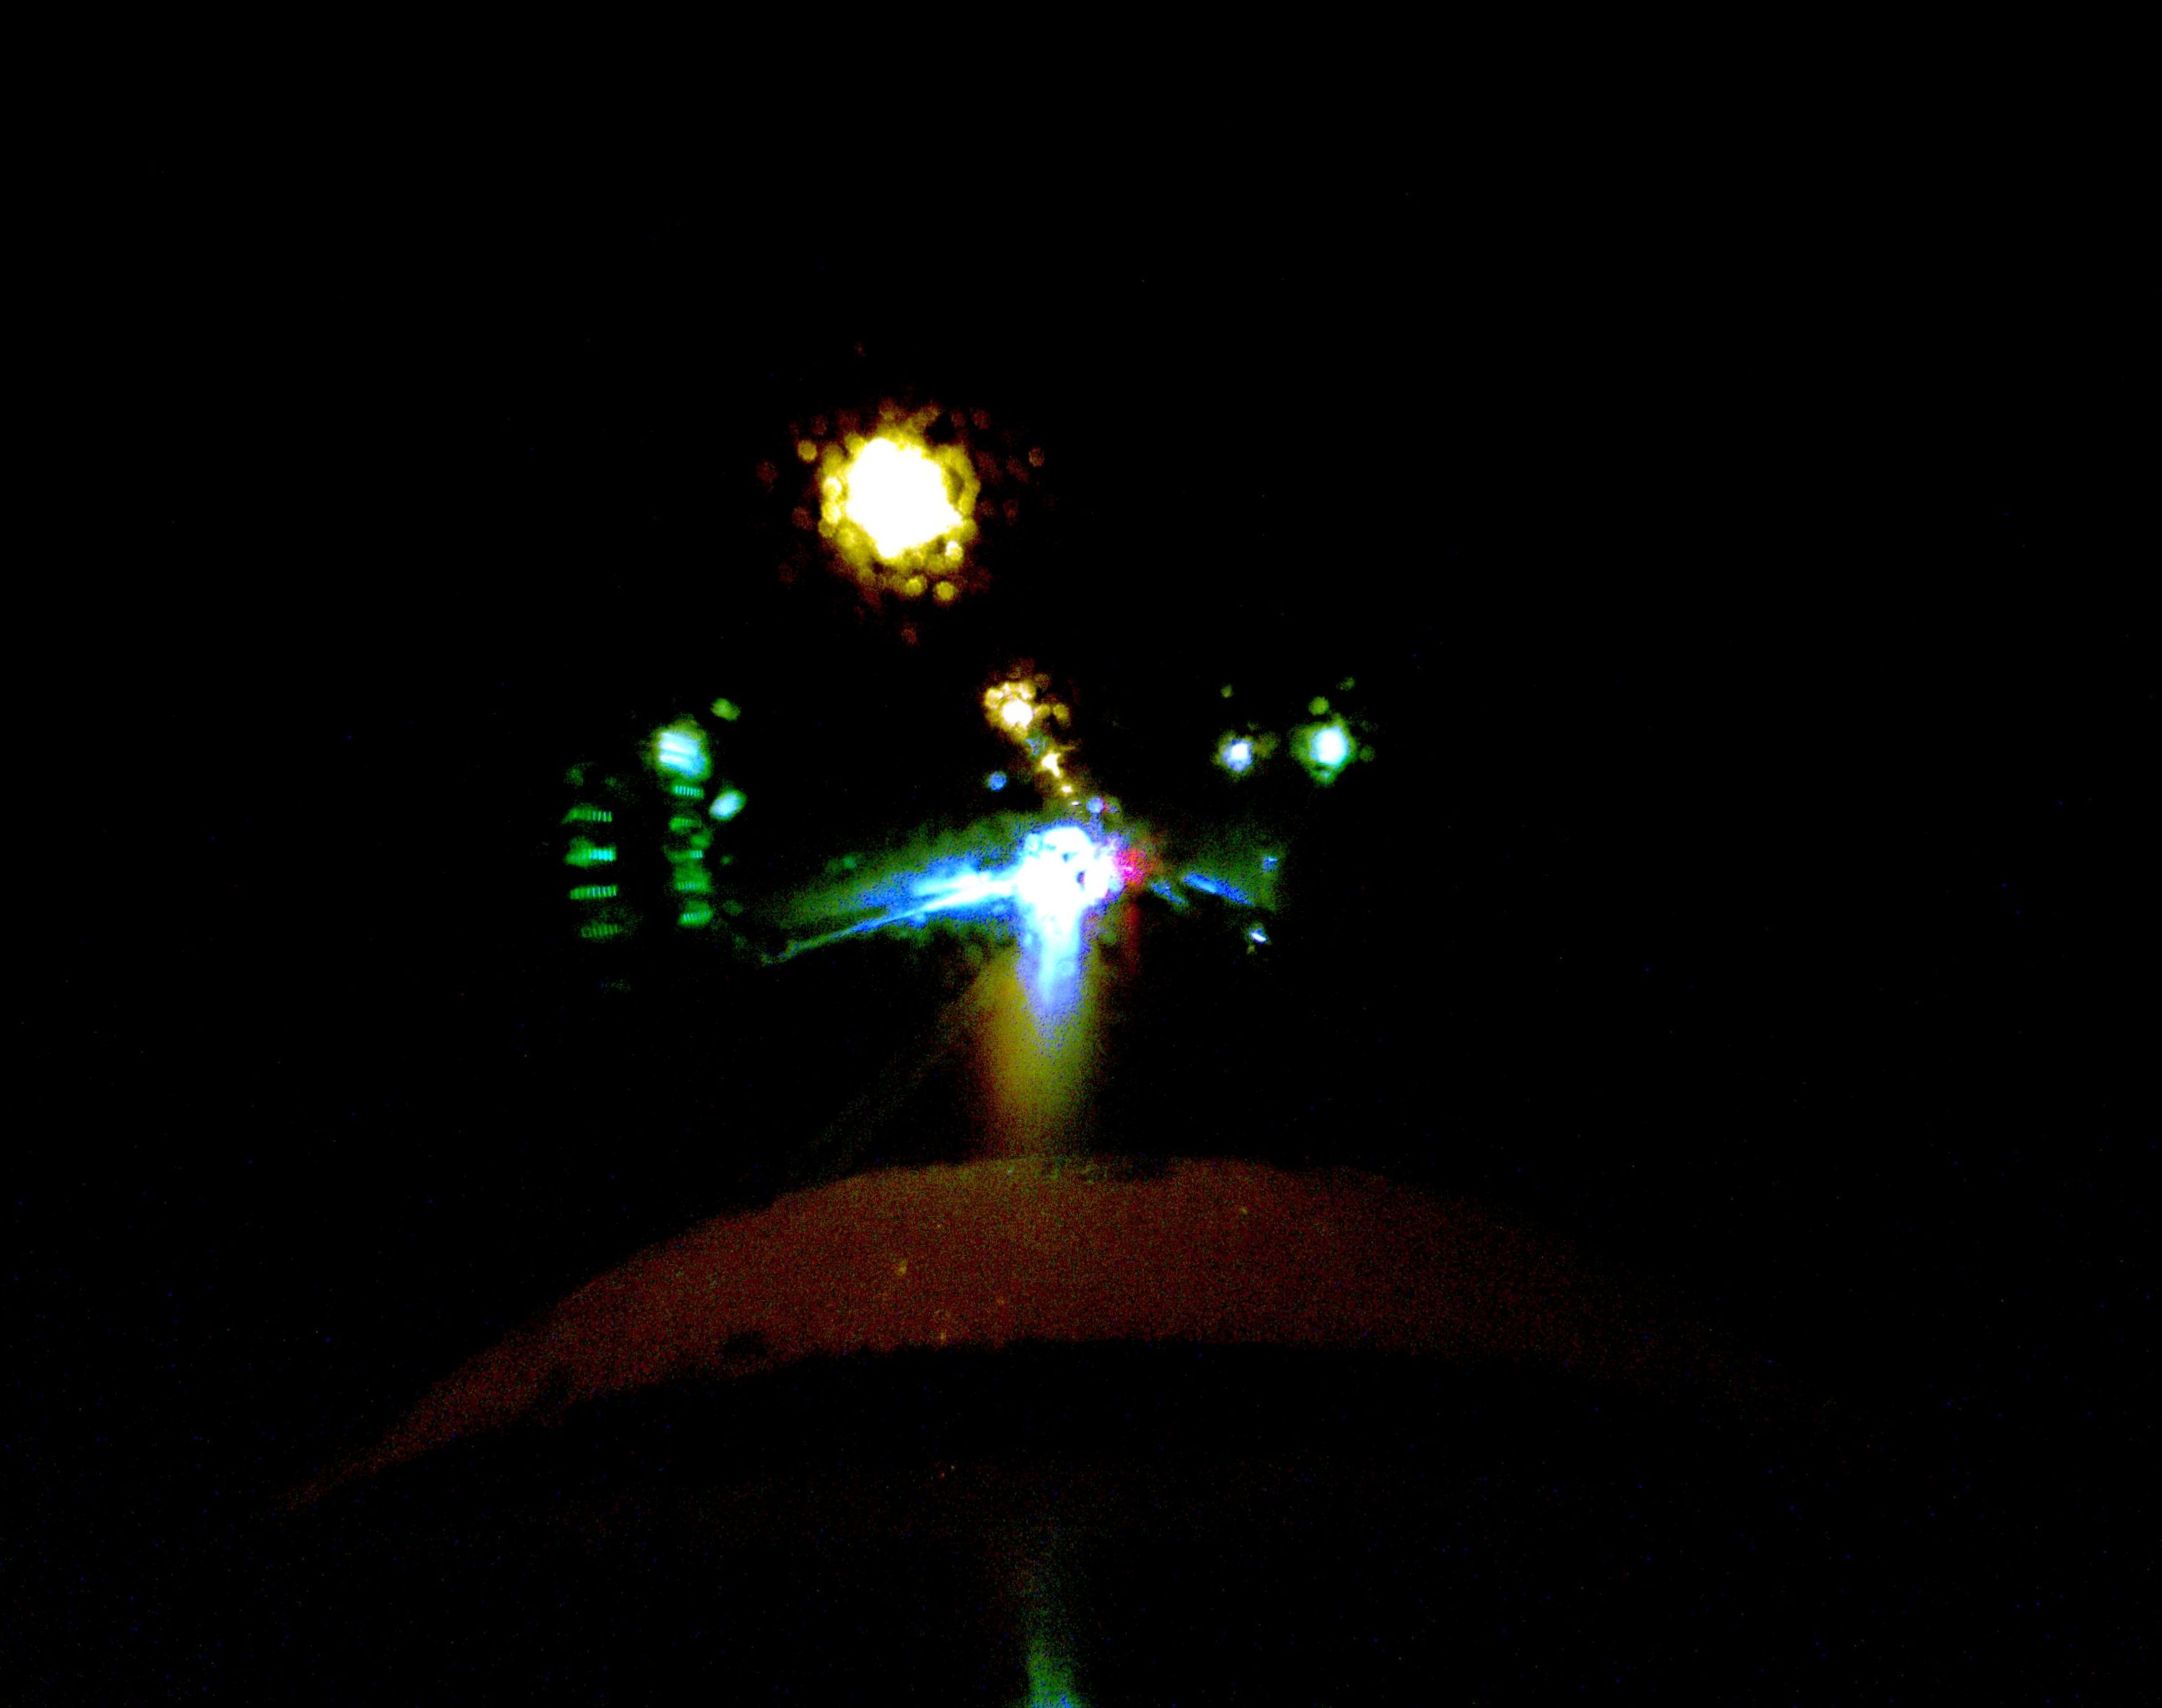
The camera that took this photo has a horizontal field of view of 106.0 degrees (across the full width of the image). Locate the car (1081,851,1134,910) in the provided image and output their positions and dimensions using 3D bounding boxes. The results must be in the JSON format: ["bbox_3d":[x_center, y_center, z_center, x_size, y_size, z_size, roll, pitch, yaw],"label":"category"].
[{"bbox_3d":[1.003,0.877,29.148,1.628,1.757,4.149,-4,1,3],"label":"car"}]

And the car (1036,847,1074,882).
[{"bbox_3d":[-1.727,0.643,52.902,2.206,2.013,3.996,-4,1,-3],"label":"car"}]
